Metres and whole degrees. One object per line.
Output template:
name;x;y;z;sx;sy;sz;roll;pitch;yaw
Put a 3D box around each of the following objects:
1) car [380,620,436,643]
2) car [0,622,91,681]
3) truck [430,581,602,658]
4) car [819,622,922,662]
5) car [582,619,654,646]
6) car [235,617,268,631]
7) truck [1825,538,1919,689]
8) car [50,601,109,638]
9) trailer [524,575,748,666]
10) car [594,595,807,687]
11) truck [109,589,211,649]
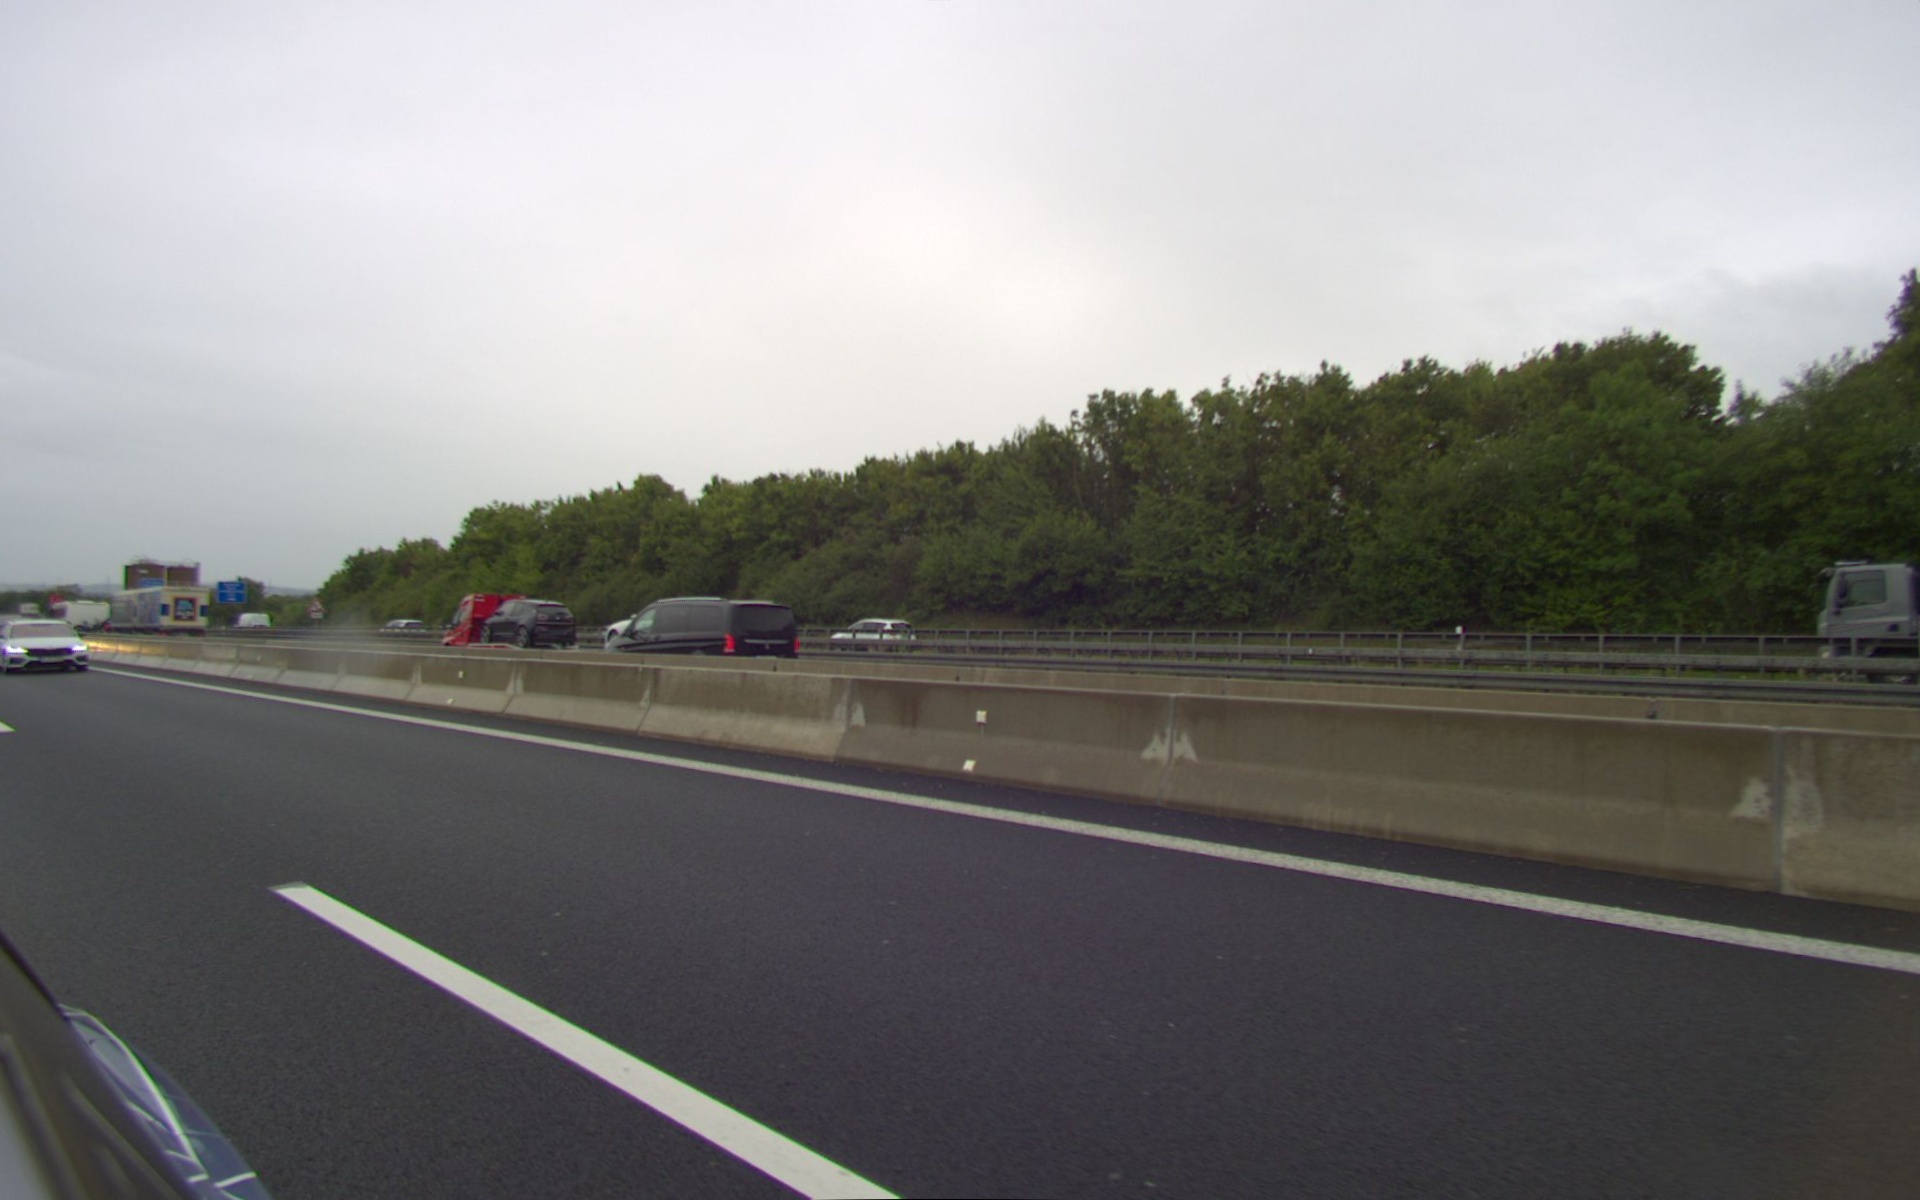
car;-37.855;2.127;69.319;4.773;1.422;1.748;-1;0;40
car;-26.247;1.388;28.606;4.773;1.467;1.800;-1;0;40
truck;-15.336;0.629;34.687;7.338;2.358;2.549;-1;0;41
car;-4.003;1.821;44.761;4.773;1.593;1.642;-1;0;40
car;-20.018;1.875;59.164;4.773;1.467;1.800;-1;0;40
car;-76.418;2.594;109.120;4.773;1.467;1.800;-1;0;40
truck;23.769;0.251;20.786;9.075;3.245;2.821;-1;0;41
car;-59.172;1.302;67.943;5.687;2.339;2.108;-1;0;40
trailer;-9.711;0.557;29.735;7.943;2.358;2.549;-1;0;41
car;-5.482;0.783;21.042;4.773;1.694;1.851;-1;0;40
truck;-57.881;1.329;72.959;16.082;3.907;2.896;-1;0;41
